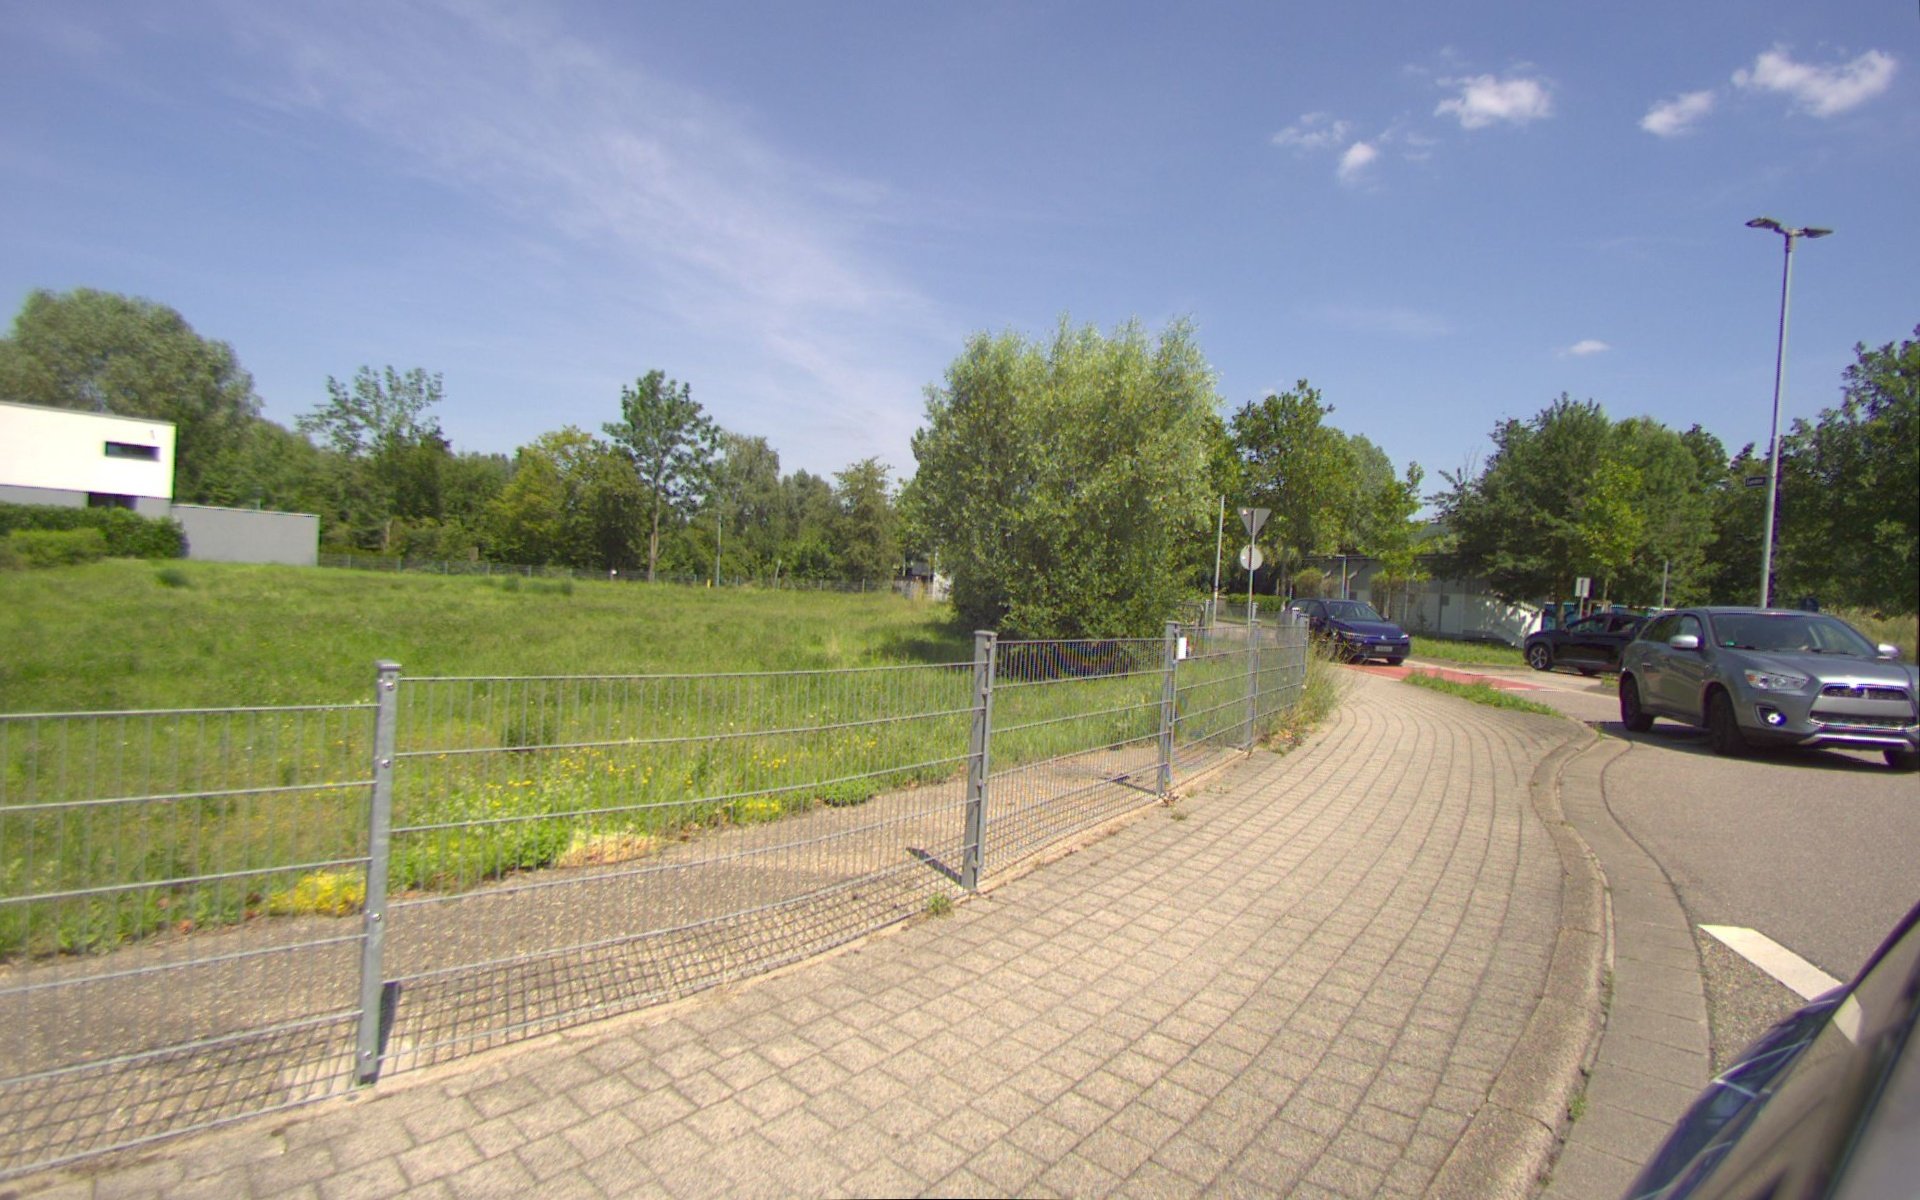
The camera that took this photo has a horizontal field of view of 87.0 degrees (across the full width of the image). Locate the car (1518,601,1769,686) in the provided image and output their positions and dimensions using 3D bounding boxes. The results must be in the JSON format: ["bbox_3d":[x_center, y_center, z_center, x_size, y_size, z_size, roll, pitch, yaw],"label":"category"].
[{"bbox_3d":[15.803,0.953,23.703,1.827,1.588,4.495,4,1,-26],"label":"car"}]

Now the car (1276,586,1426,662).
[{"bbox_3d":[9.339,0.513,24.574,1.759,1.559,4.135,3,1,-3],"label":"car"}]

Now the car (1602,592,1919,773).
[{"bbox_3d":[9.093,0.753,11.556,1.728,1.553,4.500,3,2,17],"label":"car"}]
